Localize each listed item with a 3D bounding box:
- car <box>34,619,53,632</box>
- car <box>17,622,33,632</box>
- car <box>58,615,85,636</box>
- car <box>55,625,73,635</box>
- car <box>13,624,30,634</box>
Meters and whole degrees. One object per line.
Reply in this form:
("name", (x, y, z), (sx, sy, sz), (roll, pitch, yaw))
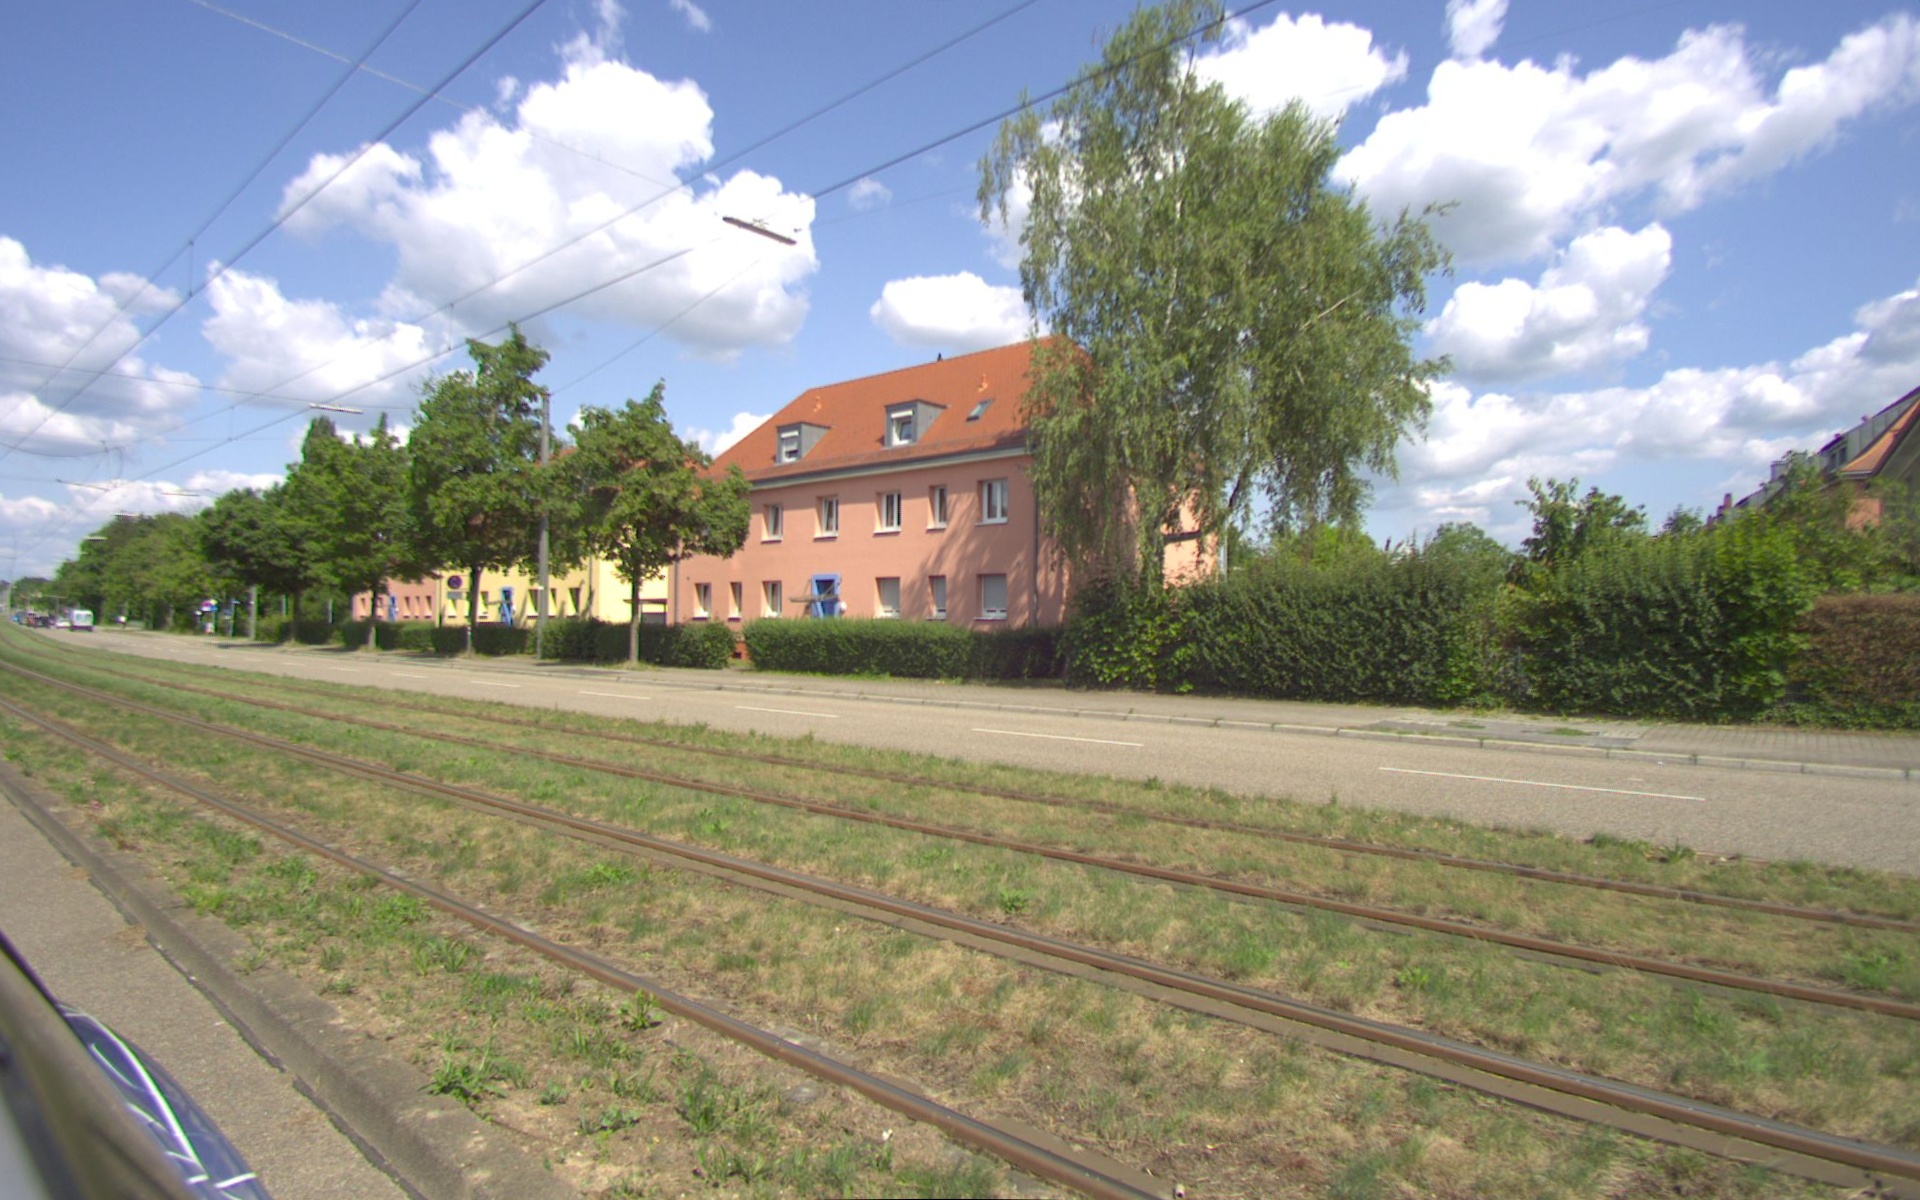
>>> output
("car", (-127.429, 3.488, 140.680), (1.666, 1.760, 4.230), (1, -2, -45))
("car", (-152.614, 4.420, 165.162), (4.278, 1.591, 1.708), (-1, -2, 44))
("car", (-107.372, 3.050, 122.329), (2.009, 2.455, 5.781), (4, -3, -45))
("car", (-130.448, 4.371, 147.360), (1.666, 1.442, 4.279), (1, -2, -45))
("car", (-163.698, 5.097, 176.517), (2.091, 1.664, 4.280), (1, -2, -44))
